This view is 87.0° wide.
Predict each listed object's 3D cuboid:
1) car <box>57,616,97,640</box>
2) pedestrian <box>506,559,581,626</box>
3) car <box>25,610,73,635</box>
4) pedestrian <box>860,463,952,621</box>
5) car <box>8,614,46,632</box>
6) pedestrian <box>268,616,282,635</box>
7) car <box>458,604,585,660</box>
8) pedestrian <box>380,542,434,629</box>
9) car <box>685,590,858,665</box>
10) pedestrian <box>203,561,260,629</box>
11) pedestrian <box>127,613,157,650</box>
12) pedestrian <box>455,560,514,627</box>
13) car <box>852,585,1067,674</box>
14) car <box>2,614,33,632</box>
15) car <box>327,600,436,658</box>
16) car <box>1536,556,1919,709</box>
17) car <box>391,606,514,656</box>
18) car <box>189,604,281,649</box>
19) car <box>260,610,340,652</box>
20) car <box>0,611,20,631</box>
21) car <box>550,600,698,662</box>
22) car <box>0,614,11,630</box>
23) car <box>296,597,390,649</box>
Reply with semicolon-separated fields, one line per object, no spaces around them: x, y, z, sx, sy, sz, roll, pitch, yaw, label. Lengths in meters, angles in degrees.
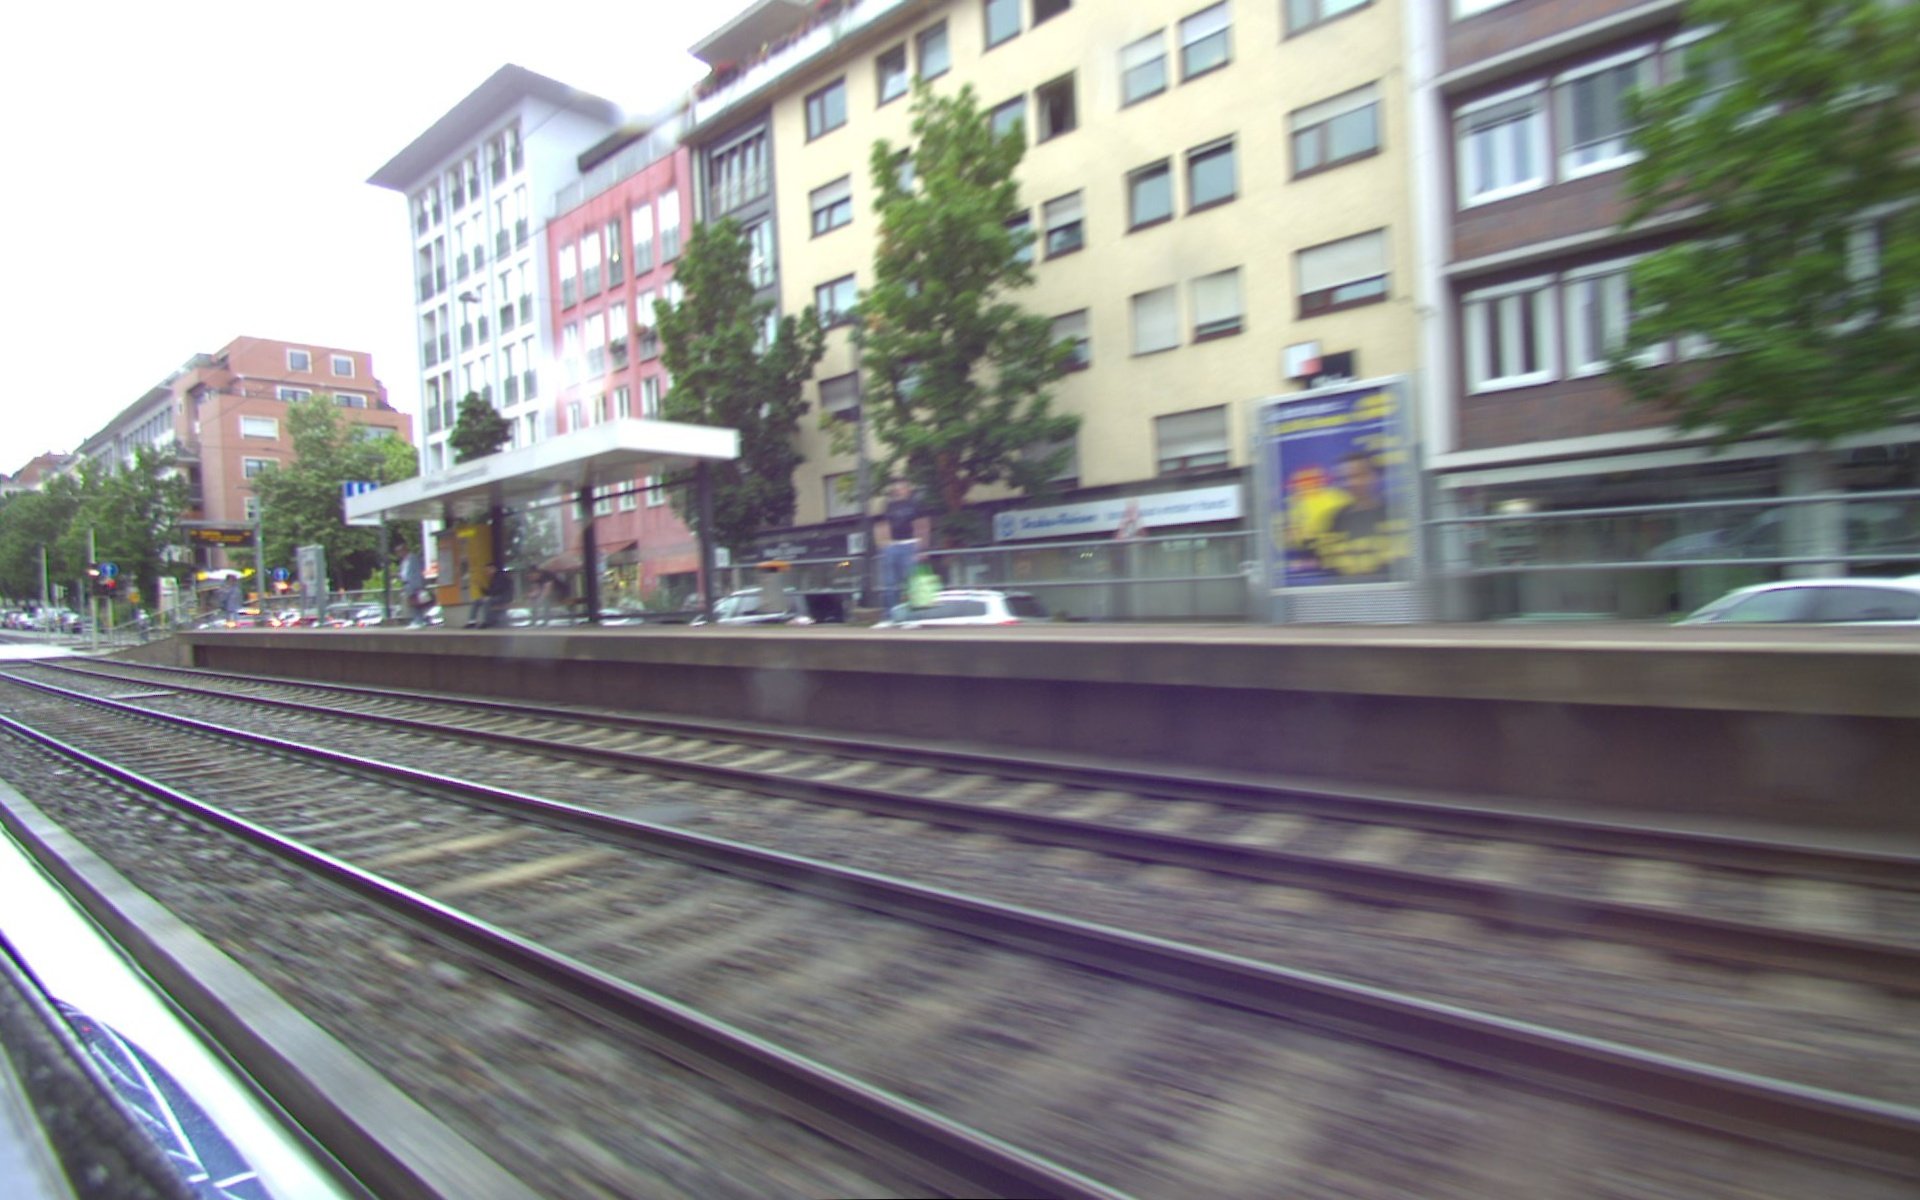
-63.985;2.007;73.306;4.369;1.636;1.622;0;1;41;car
-7.391;-0.131;17.990;0.846;1.132;0.886;-1;0;30;pedestrian
-73.147;1.769;81.248;5.248;1.858;1.890;-1;1;37;car
-0.646;-0.675;12.178;0.849;1.815;0.649;-1;0;39;pedestrian
-80.296;1.958;87.123;4.524;1.473;1.676;-1;1;38;car
-45.735;1.701;67.538;0.668;1.186;0.609;-2;0;-44;pedestrian
-12.444;0.879;28.635;3.973;1.447;1.553;-1;0;38;car
-11.256;-0.284;20.595;0.849;1.724;0.649;-1;0;39;pedestrian
-4.079;0.571;21.642;3.730;1.447;1.553;-1;0;38;car
-22.212;-0.153;30.852;1.382;2.029;1.104;-1;1;41;pedestrian
-40.231;1.547;49.773;0.983;1.709;0.813;-1;2;33;pedestrian
-9.242;-0.124;19.667;0.883;1.258;0.686;-1;0;39;pedestrian
-0.063;0.508;18.439;3.730;1.447;1.553;-1;0;38;car
-86.152;2.046;92.494;3.800;1.550;1.622;-1;1;40;car
-20.224;0.980;35.340;4.375;1.872;1.785;-1;0;38;car
8.744;0.311;10.898;4.232;1.447;1.553;-1;0;38;car
-16.300;0.961;32.411;4.313;1.447;1.823;-1;0;38;car
-28.220;0.999;39.331;5.019;1.590;1.788;-1;0;41;car
-27.771;1.277;42.535;4.551;1.624;1.708;-2;0;42;car
-90.761;1.982;96.081;4.428;1.830;1.657;-1;1;40;car
-8.633;0.770;25.862;3.973;1.447;1.657;-1;0;38;car
-95.024;2.169;99.722;4.726;1.451;1.622;0;1;40;car
-23.844;0.885;39.083;4.315;1.872;1.691;-1;0;39;car
